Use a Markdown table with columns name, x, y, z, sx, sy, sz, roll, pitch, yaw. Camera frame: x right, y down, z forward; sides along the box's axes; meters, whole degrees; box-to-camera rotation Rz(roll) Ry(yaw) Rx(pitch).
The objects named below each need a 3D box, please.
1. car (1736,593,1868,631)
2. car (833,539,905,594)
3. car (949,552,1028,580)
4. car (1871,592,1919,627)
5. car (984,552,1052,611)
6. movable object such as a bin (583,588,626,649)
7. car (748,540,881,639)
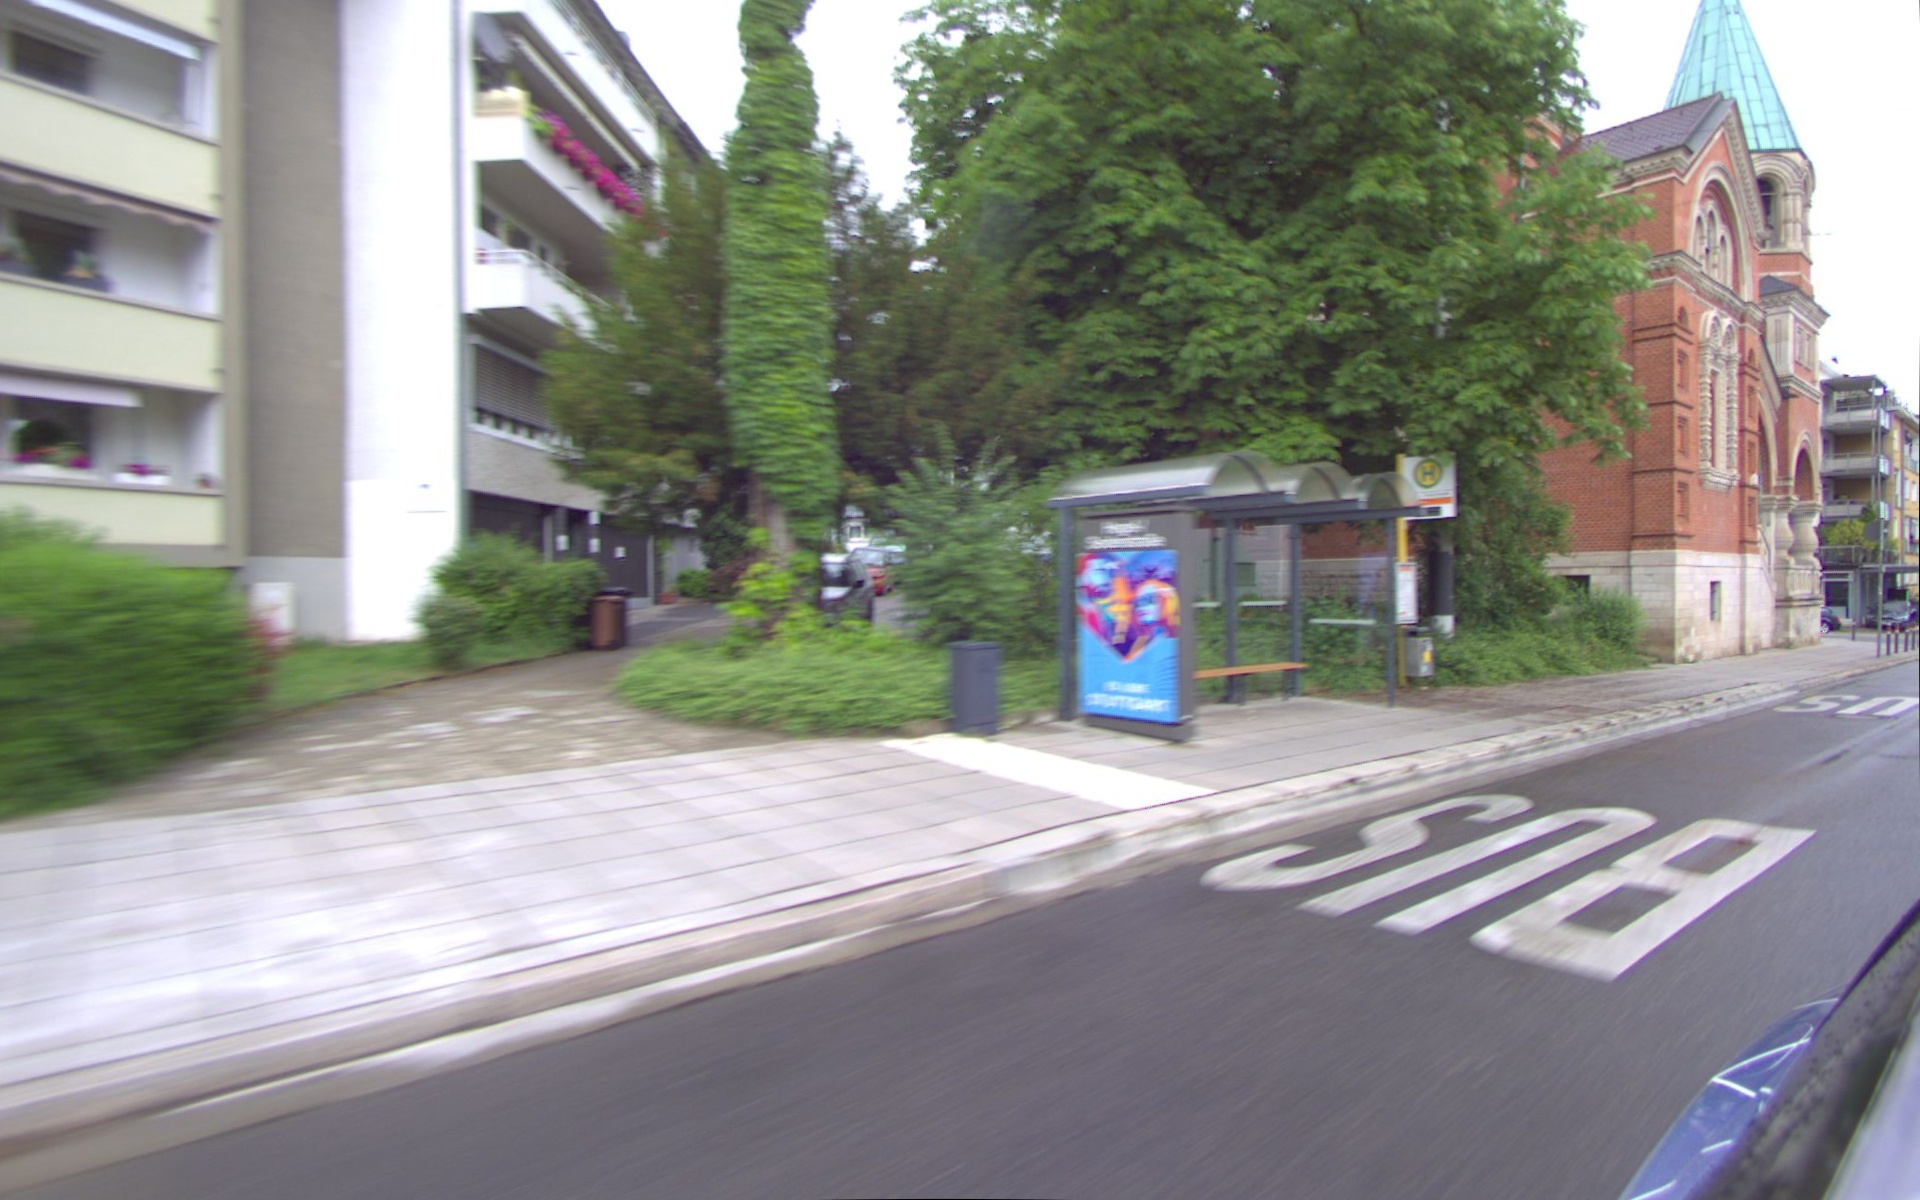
| name | x | y | z | sx | sy | sz | roll | pitch | yaw |
| --- | --- | --- | --- | --- | --- | --- | --- | --- | --- |
| car | 39.927 | 0.559 | 48.057 | 4.371 | 1.475 | 1.999 | 4 | 0 | 5 |
| car | -3.027 | -1.095 | 34.463 | 1.809 | 1.716 | 4.198 | -1 | 0 | 4 |
| car | 1.533 | -1.768 | 53.058 | 3.935 | 1.424 | 1.823 | 1 | 0 | 10 |
| car | 48.830 | 0.468 | 52.358 | 4.370 | 1.521 | 1.858 | -2 | 4 | -39 |
| car | 1.665 | -0.516 | 29.343 | 1.808 | 1.584 | 3.993 | -1 | 0 | 3 |
| movable object such as a bin | -6.171 | 0.313 | 17.589 | 0.577 | 1.036 | 0.534 | -1 | 0 | -7 |
| car | -2.725 | -0.207 | 19.868 | 1.808 | 1.716 | 4.199 | -1 | 0 | 3 |
